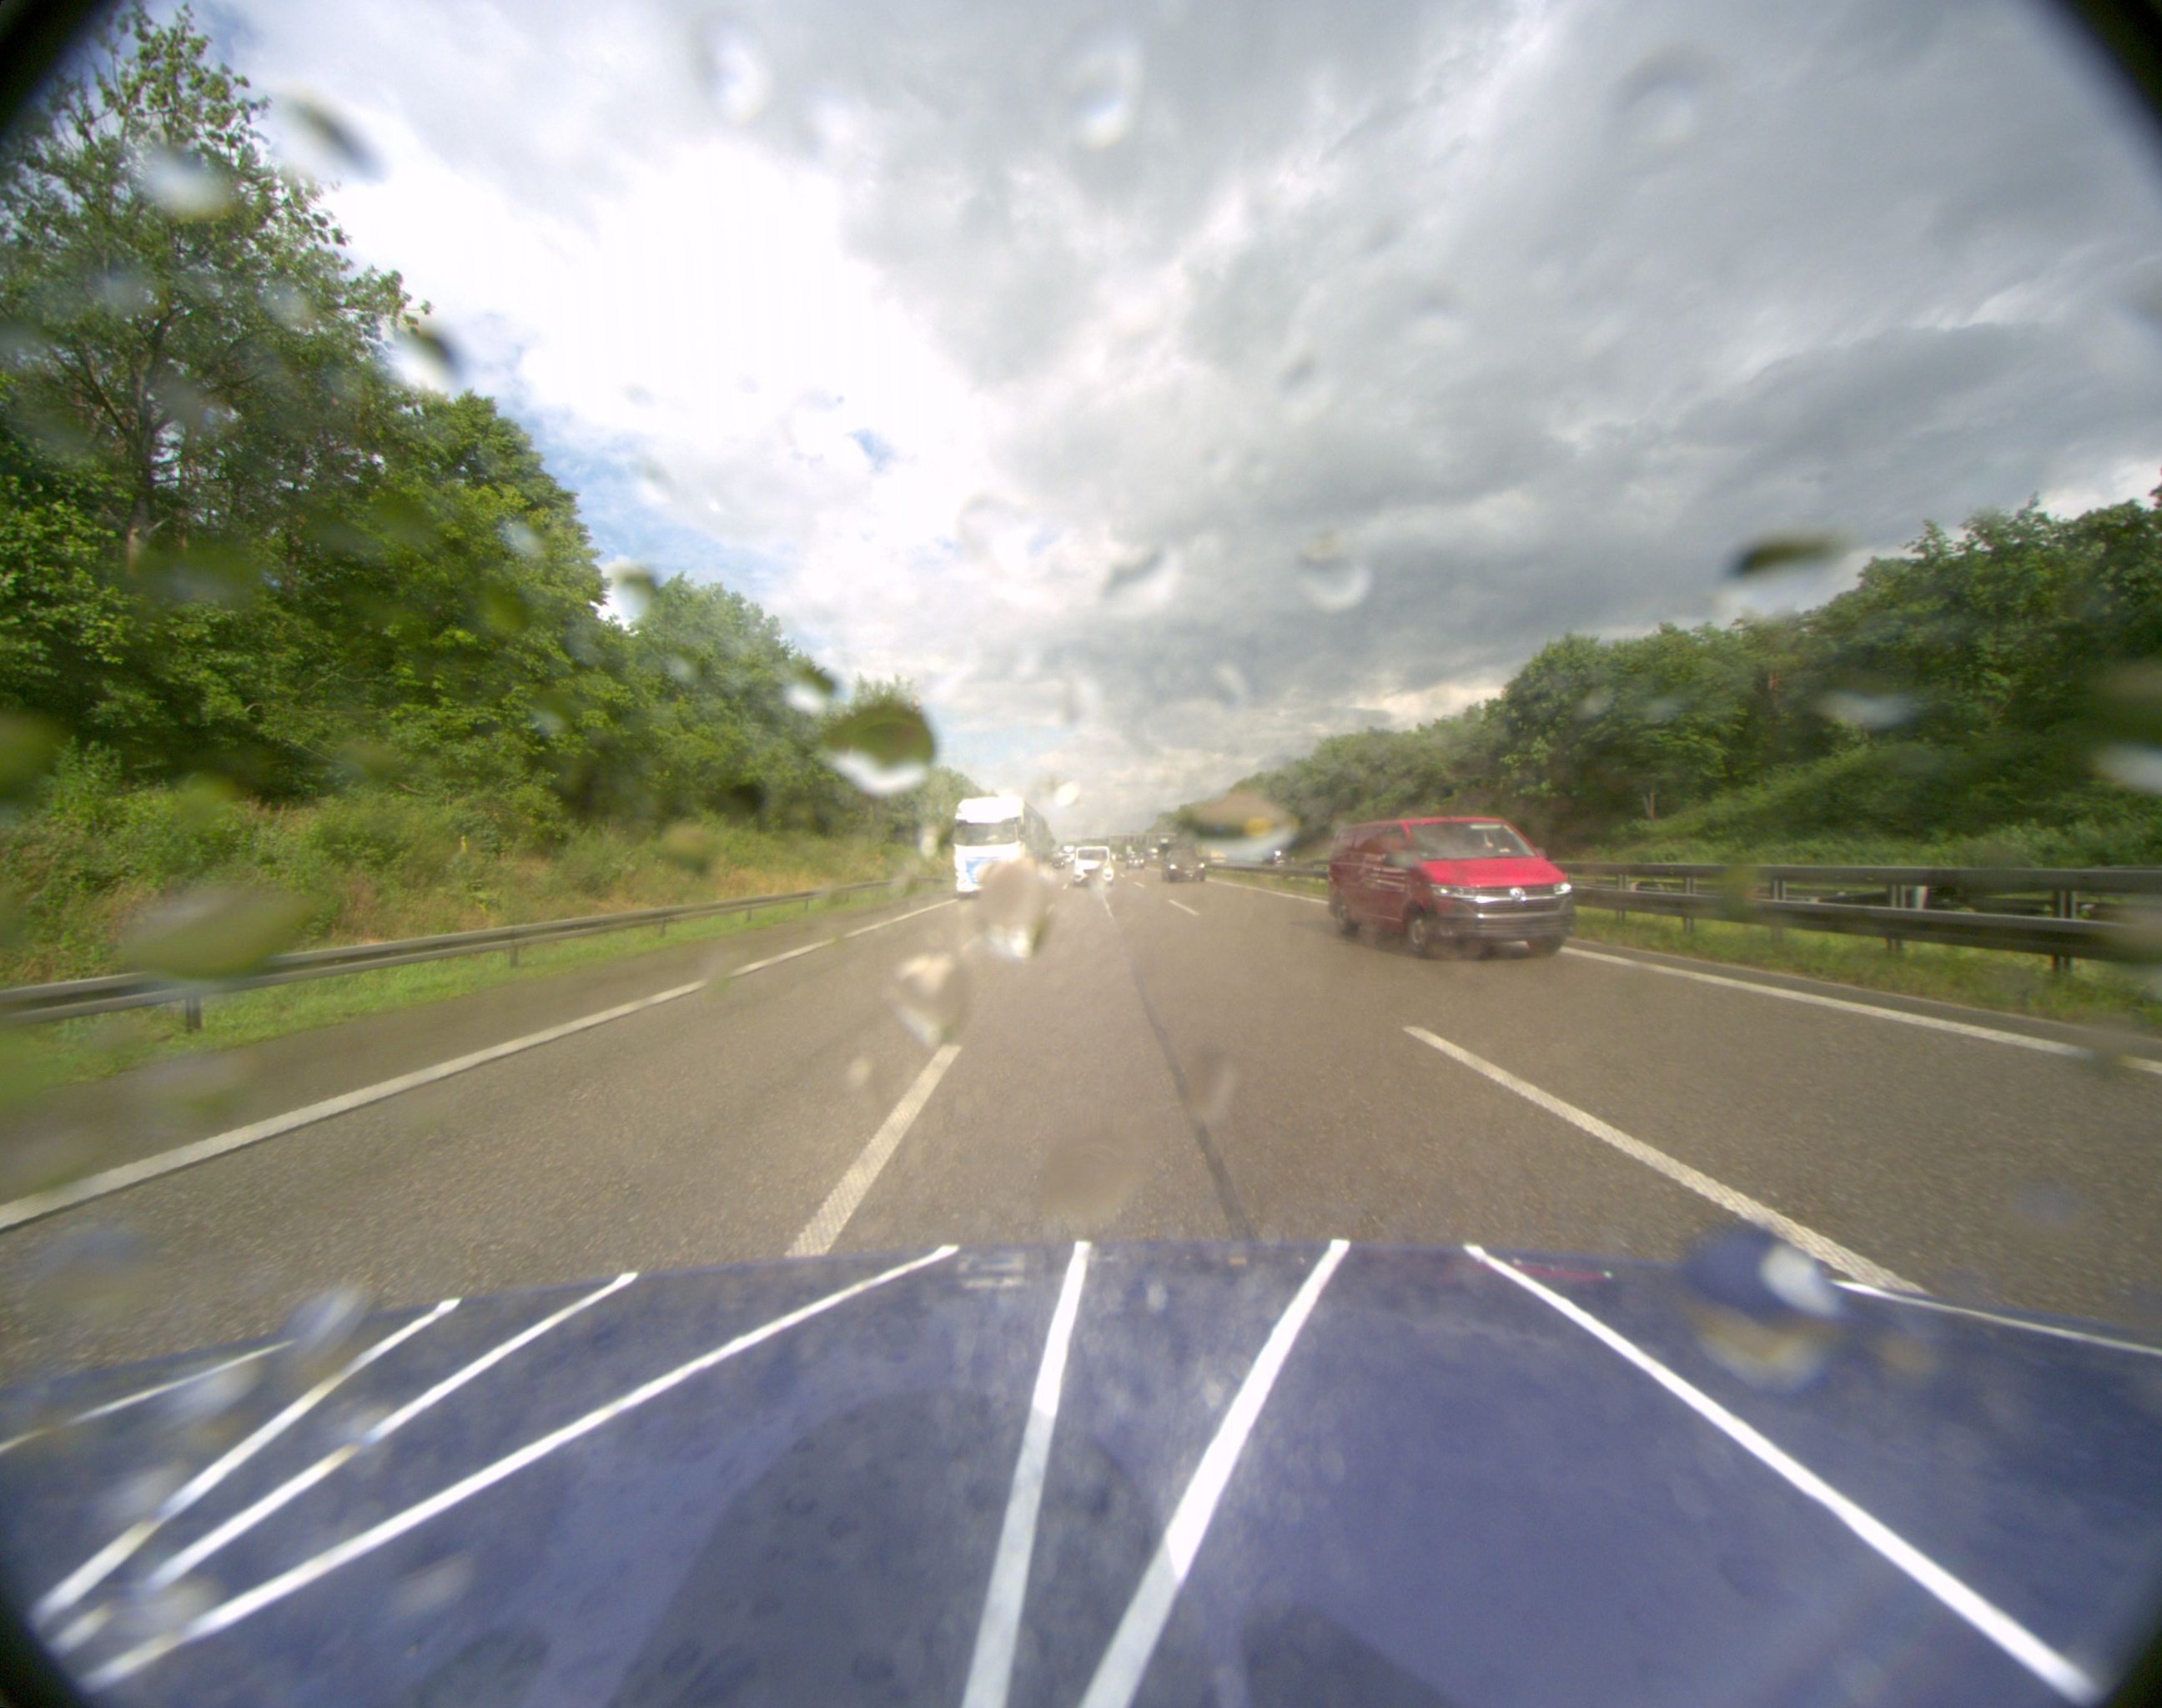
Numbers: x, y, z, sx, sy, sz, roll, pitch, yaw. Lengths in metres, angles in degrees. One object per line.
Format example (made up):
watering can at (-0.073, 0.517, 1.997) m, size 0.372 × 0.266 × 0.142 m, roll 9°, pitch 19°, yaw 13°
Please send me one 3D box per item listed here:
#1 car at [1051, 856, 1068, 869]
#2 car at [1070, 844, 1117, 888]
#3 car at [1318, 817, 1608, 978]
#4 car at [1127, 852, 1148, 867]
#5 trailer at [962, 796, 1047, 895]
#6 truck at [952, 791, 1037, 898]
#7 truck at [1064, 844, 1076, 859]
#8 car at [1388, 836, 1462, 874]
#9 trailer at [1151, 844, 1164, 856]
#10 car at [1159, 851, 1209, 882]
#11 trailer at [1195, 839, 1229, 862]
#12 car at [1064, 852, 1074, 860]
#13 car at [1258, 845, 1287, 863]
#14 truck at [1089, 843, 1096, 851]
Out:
car at (-2.581, 1.009, 92.849) m, size 1.799 × 1.410 × 4.838 m, roll -2°, pitch 0°, yaw 0°
car at (0.590, 0.531, 38.544) m, size 2.124 × 1.988 × 5.982 m, roll -2°, pitch 0°, yaw 0°
car at (5.357, 0.506, 11.552) m, size 1.927 × 1.855 × 4.838 m, roll -2°, pitch 1°, yaw 0°
car at (5.752, 0.547, 78.180) m, size 1.799 × 1.410 × 4.838 m, roll -2°, pitch 0°, yaw 0°
trailer at (-3.470, -0.418, 38.312) m, size 2.641 × 3.972 × 14.063 m, roll -2°, pitch 0°, yaw 0°
truck at (-3.505, -0.373, 32.589) m, size 2.613 × 3.972 × 7.289 m, roll -2°, pitch 1°, yaw 0°
truck at (-2.884, -0.708, 196.694) m, size 3.064 × 3.827 × 8.798 m, roll -1°, pitch 0°, yaw -1°
car at (22.430, 0.053, 49.808) m, size 2.150 × 2.236 × 5.979 m, roll -2°, pitch 1°, yaw 1°
trailer at (26.796, -1.485, 267.216) m, size 2.998 × 3.809 × 17.950 m, roll -3°, pitch 0°, yaw 0°
car at (5.454, 0.631, 40.808) m, size 2.009 × 1.488 × 4.838 m, roll -2°, pitch 0°, yaw 0°
trailer at (22.851, -0.605, 133.906) m, size 2.730 × 3.623 × 16.674 m, roll -2°, pitch 0°, yaw -1°
car at (-2.385, 0.367, 153.869) m, size 1.799 × 1.410 × 4.838 m, roll -2°, pitch 0°, yaw 0°
car at (18.361, -0.048, 73.008) m, size 1.752 × 1.625 × 4.000 m, roll -2°, pitch 1°, yaw 1°
truck at (3.208, -1.929, 215.107) m, size 1.933 × 2.002 × 5.948 m, roll -1°, pitch 0°, yaw -1°
